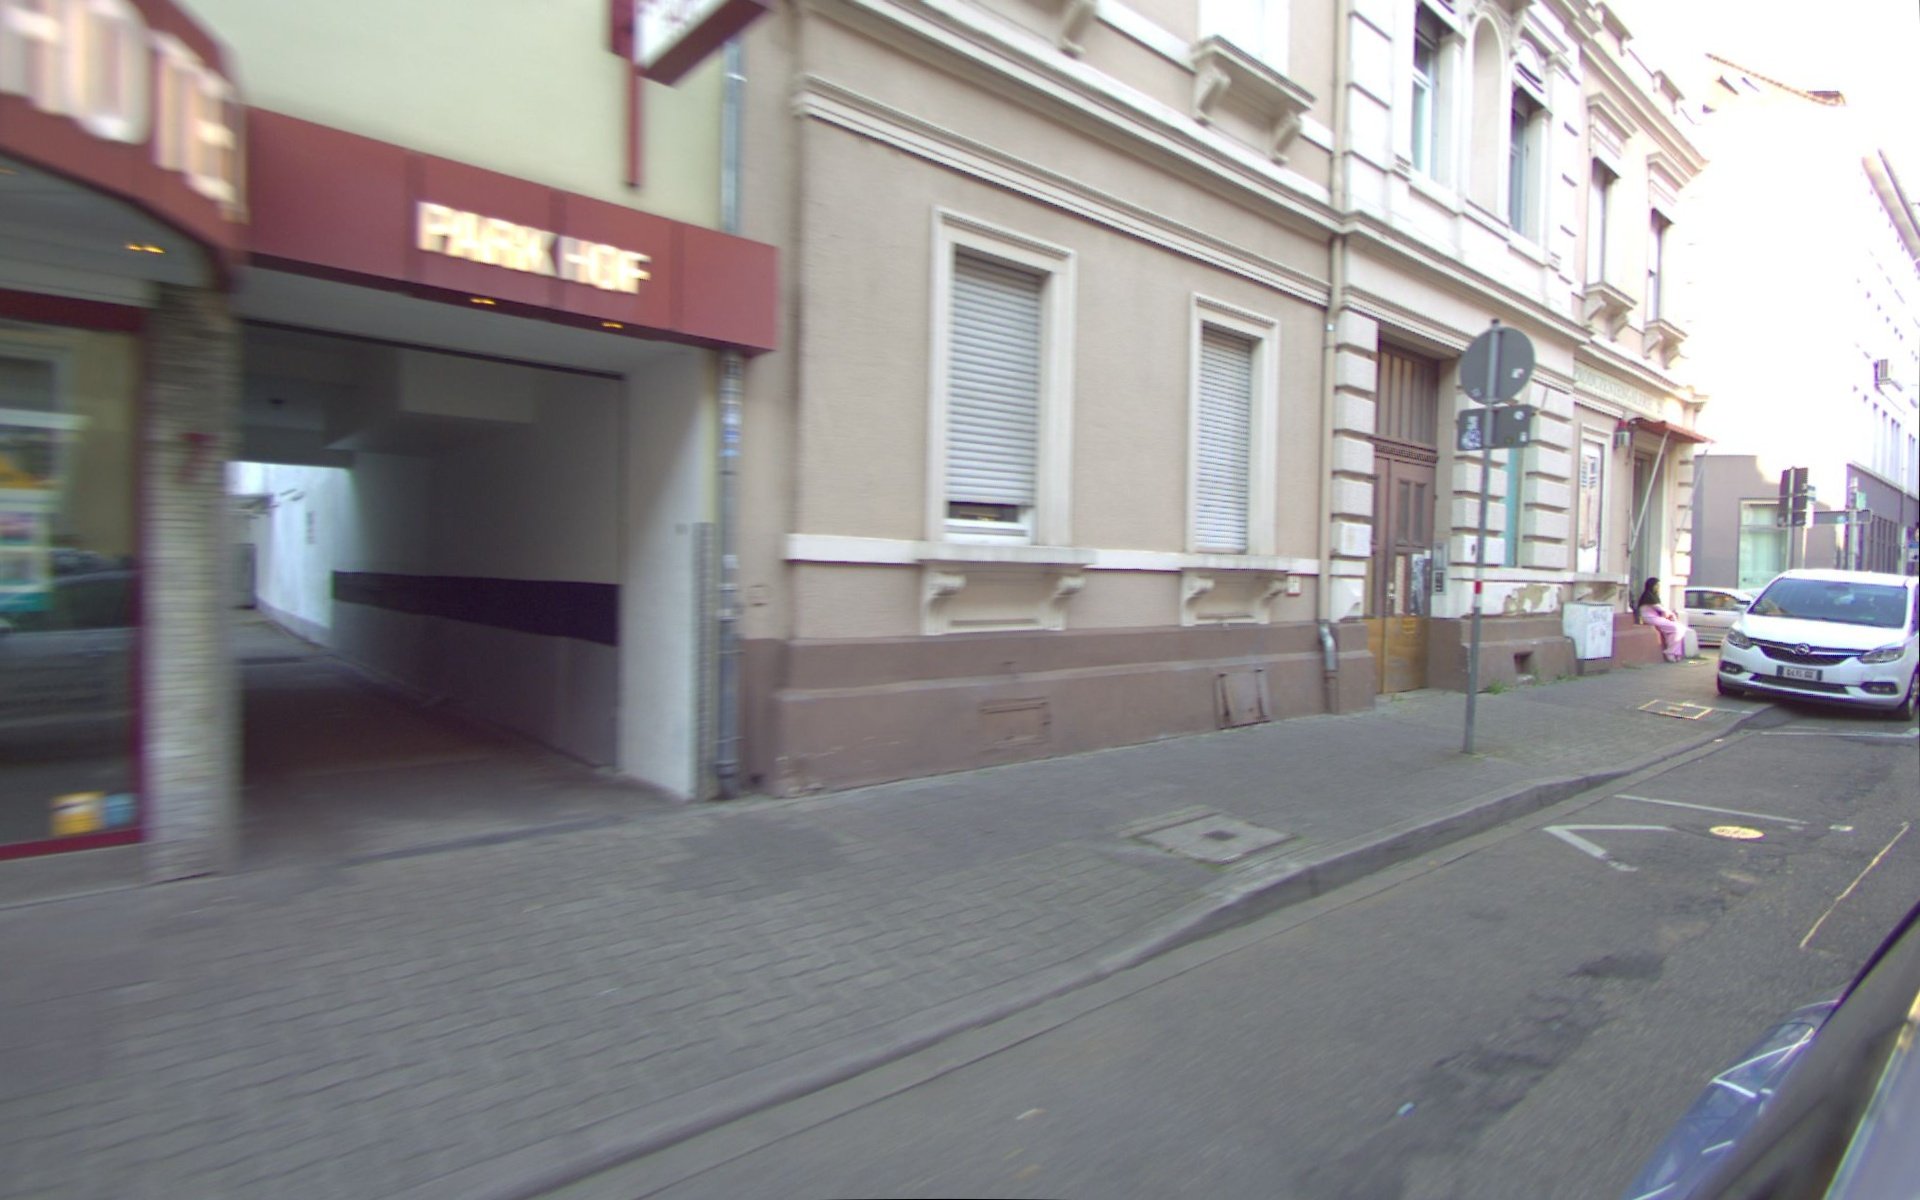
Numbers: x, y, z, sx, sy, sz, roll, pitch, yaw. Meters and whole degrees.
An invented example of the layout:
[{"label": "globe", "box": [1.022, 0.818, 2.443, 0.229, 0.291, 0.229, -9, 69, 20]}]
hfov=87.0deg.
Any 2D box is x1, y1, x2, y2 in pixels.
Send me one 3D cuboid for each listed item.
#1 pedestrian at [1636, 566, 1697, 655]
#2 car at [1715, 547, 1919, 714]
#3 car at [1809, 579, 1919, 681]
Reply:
[{"label": "pedestrian", "box": [12.169, 0.164, 17.428, 0.570, 1.490, 0.716, 0, 2, -40]}, {"label": "car", "box": [11.186, 0.289, 12.706, 4.383, 1.745, 1.820, 0, 1, -41]}, {"label": "car", "box": [15.303, 0.425, 16.057, 4.643, 1.426, 1.889, 0, 1, -38]}]
